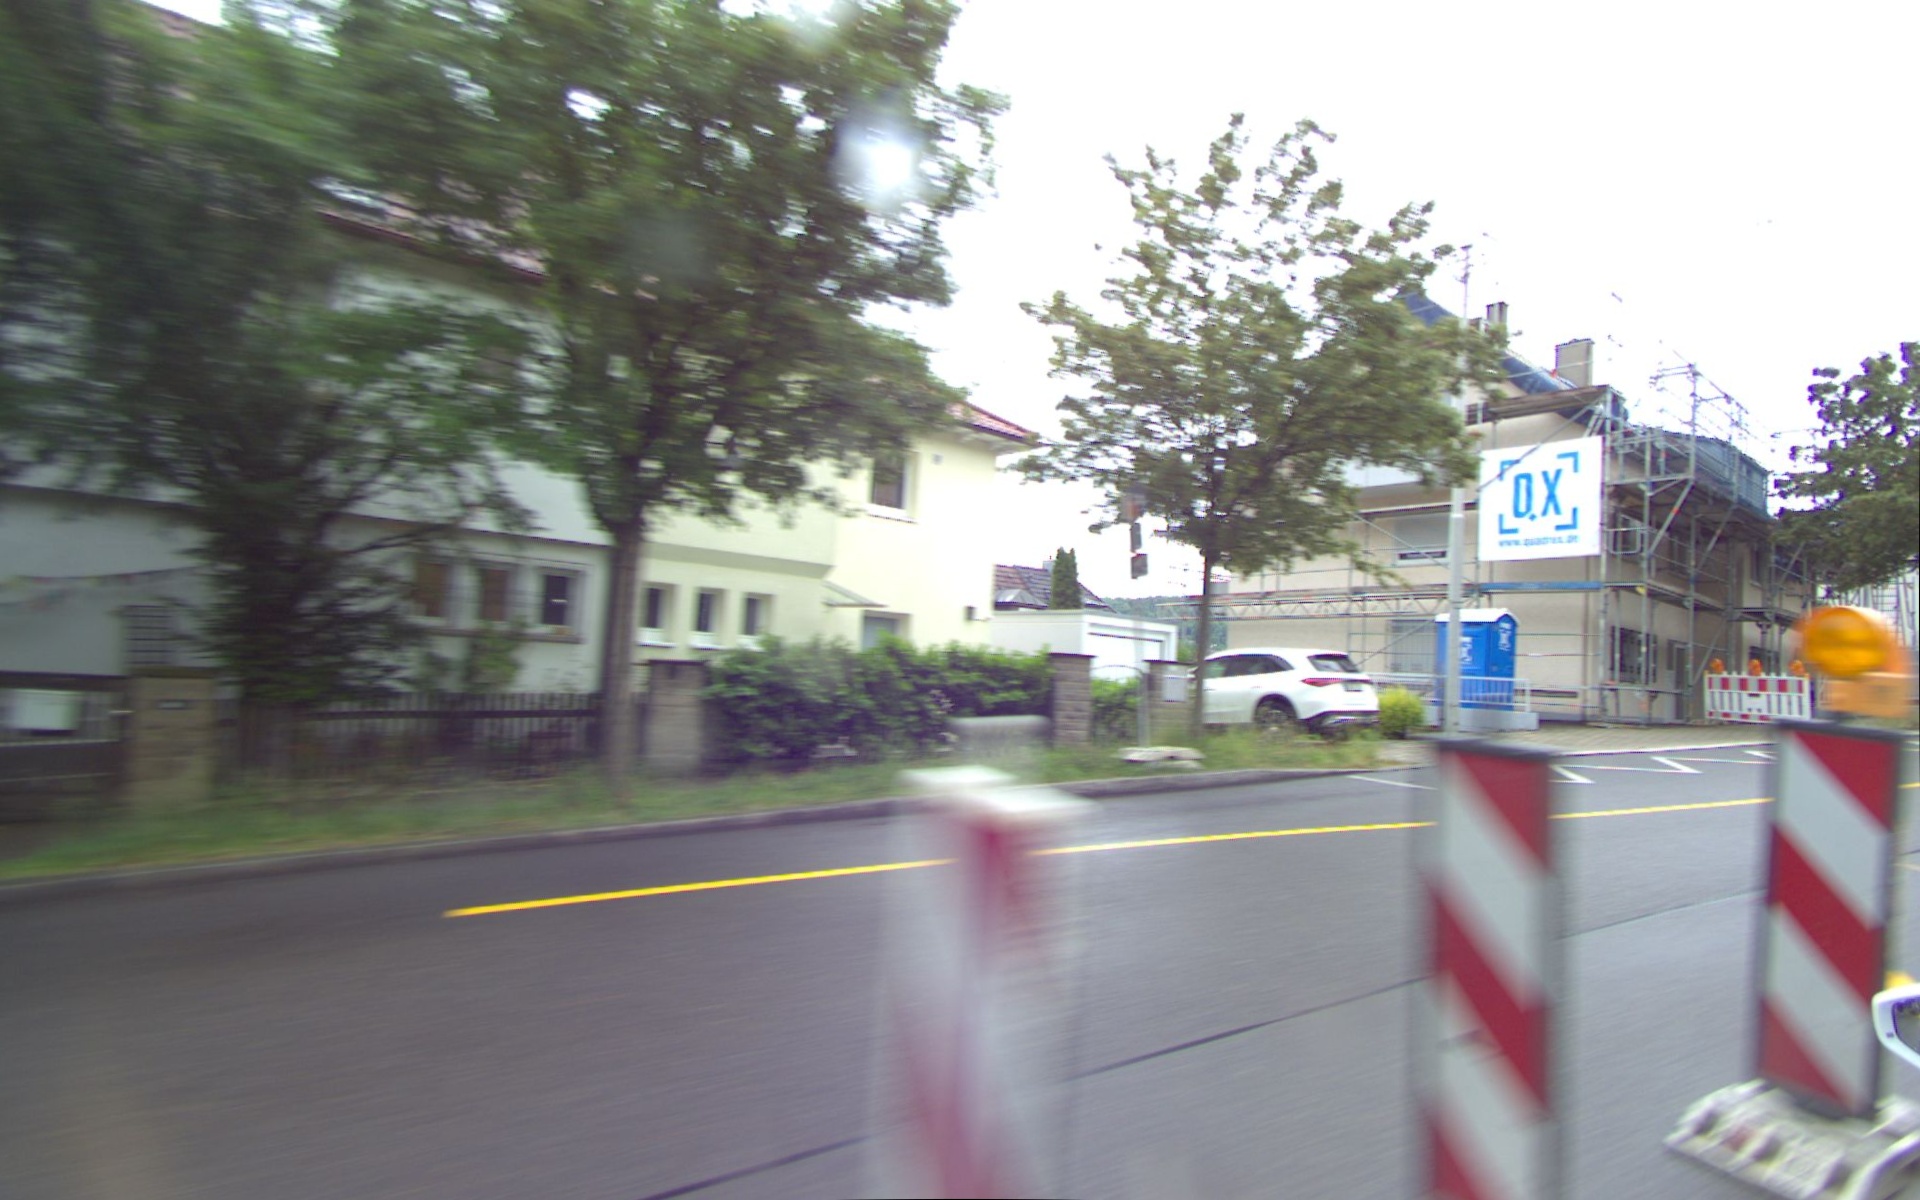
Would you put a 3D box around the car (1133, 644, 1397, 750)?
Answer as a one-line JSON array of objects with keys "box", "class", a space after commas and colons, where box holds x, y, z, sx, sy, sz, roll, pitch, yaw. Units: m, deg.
[{"box": [5.259, 1.701, 17.844, 1.932, 1.624, 4.169, 3, -6, -36], "class": "car"}]

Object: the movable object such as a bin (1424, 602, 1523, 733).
[{"box": [10.429, 1.352, 20.425, 1.372, 2.538, 1.304, 2, -2, -34], "class": "movable object such as a bin"}]
